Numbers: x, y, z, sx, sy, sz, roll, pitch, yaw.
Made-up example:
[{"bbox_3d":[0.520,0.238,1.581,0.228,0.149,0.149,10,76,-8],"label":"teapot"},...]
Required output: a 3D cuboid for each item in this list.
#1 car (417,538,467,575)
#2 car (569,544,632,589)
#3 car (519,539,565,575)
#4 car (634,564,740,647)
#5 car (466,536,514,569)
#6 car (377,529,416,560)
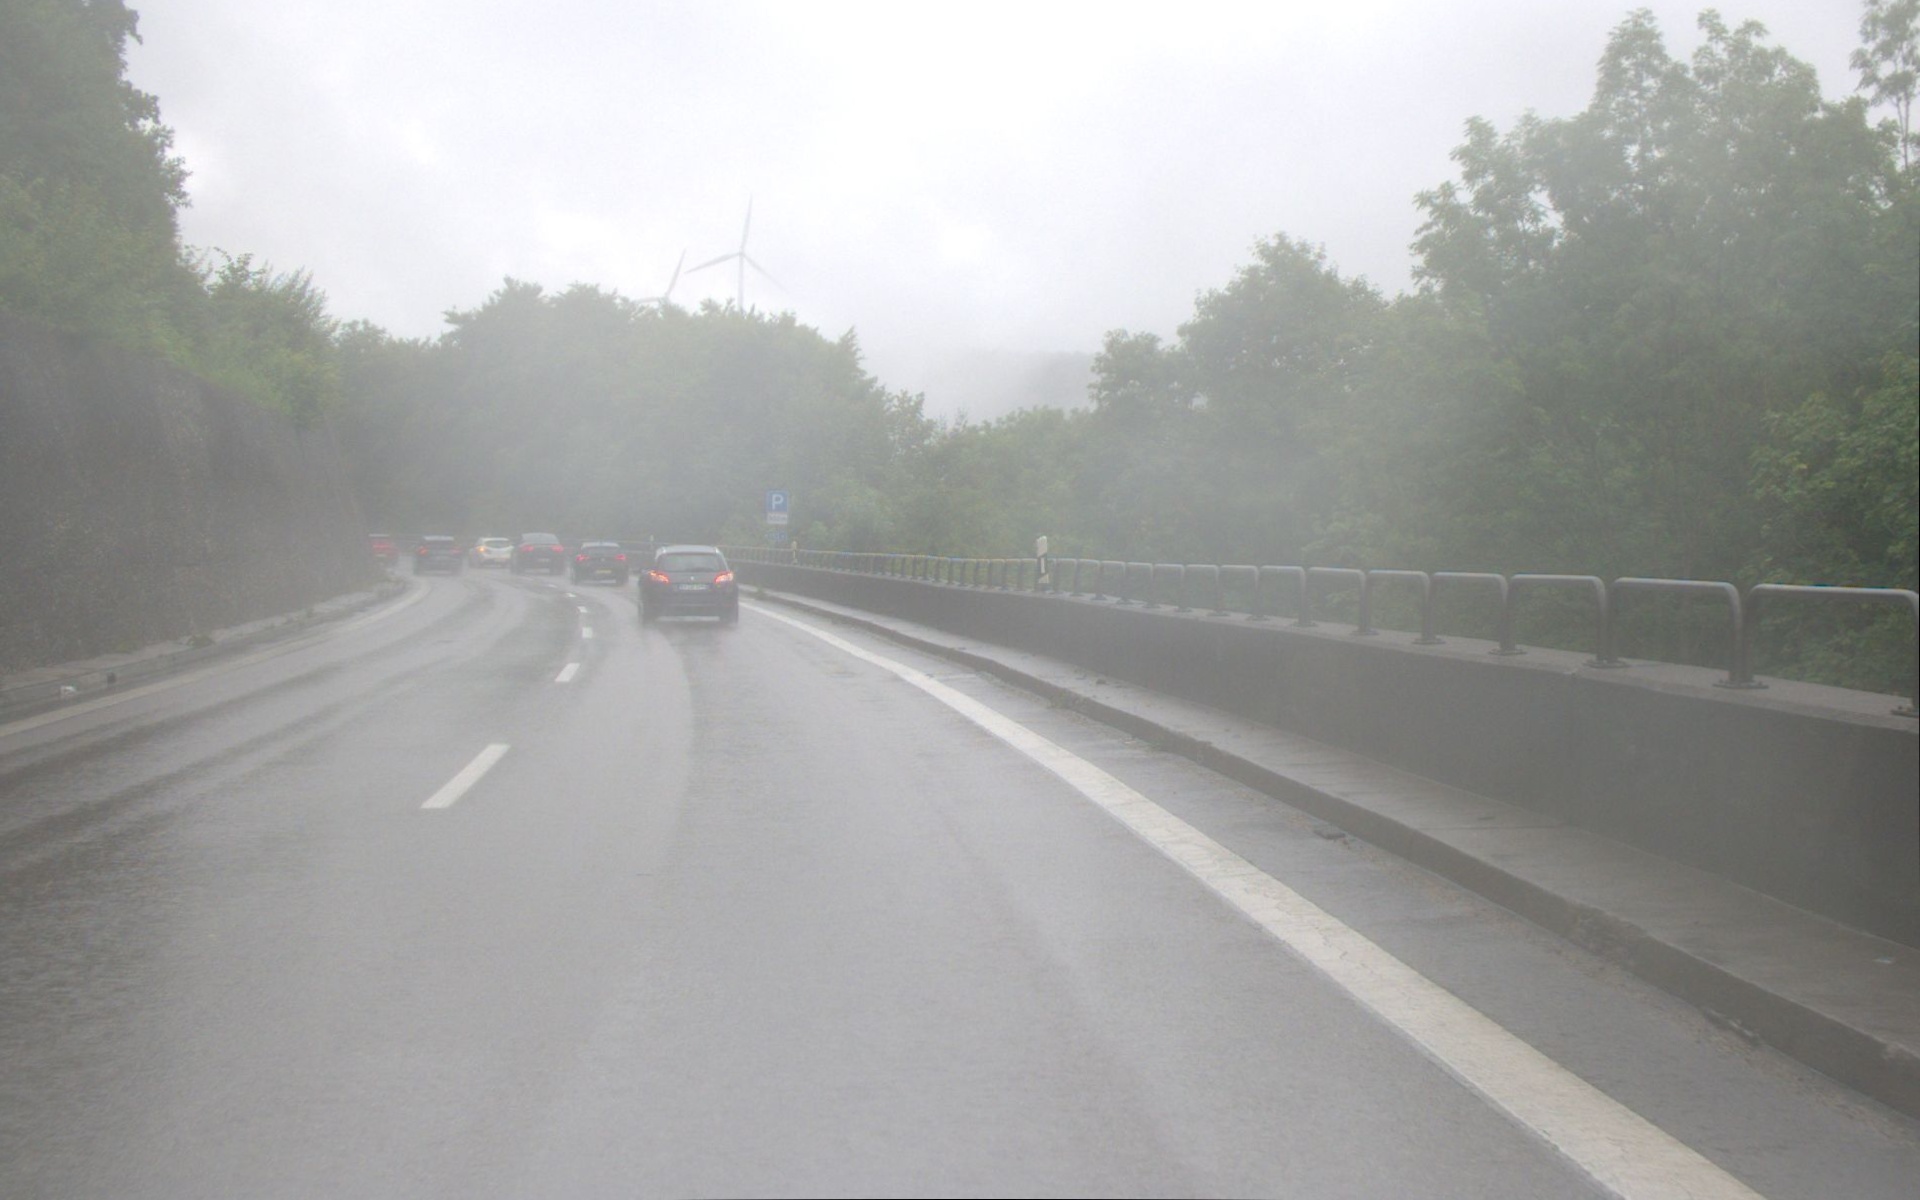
[{"bbox_3d":[-21.367,-1.804,141.901,1.903,1.494,4.001,0,1,-7],"label":"car"},{"bbox_3d":[-12.172,-1.151,116.346,1.903,1.494,4.001,0,1,-9],"label":"car"},{"bbox_3d":[-17.512,-1.805,143.936,1.903,1.494,4.001,0,1,-7],"label":"car"},{"bbox_3d":[-5.177,0.082,64.776,1.903,1.494,4.001,0,1,-6],"label":"car"},{"bbox_3d":[-22.103,-2.246,161.615,1.903,1.494,4.001,0,1,-13],"label":"car"},{"bbox_3d":[-28.024,-2.775,170.946,1.903,1.494,4.001,0,1,-9],"label":"car"}]
